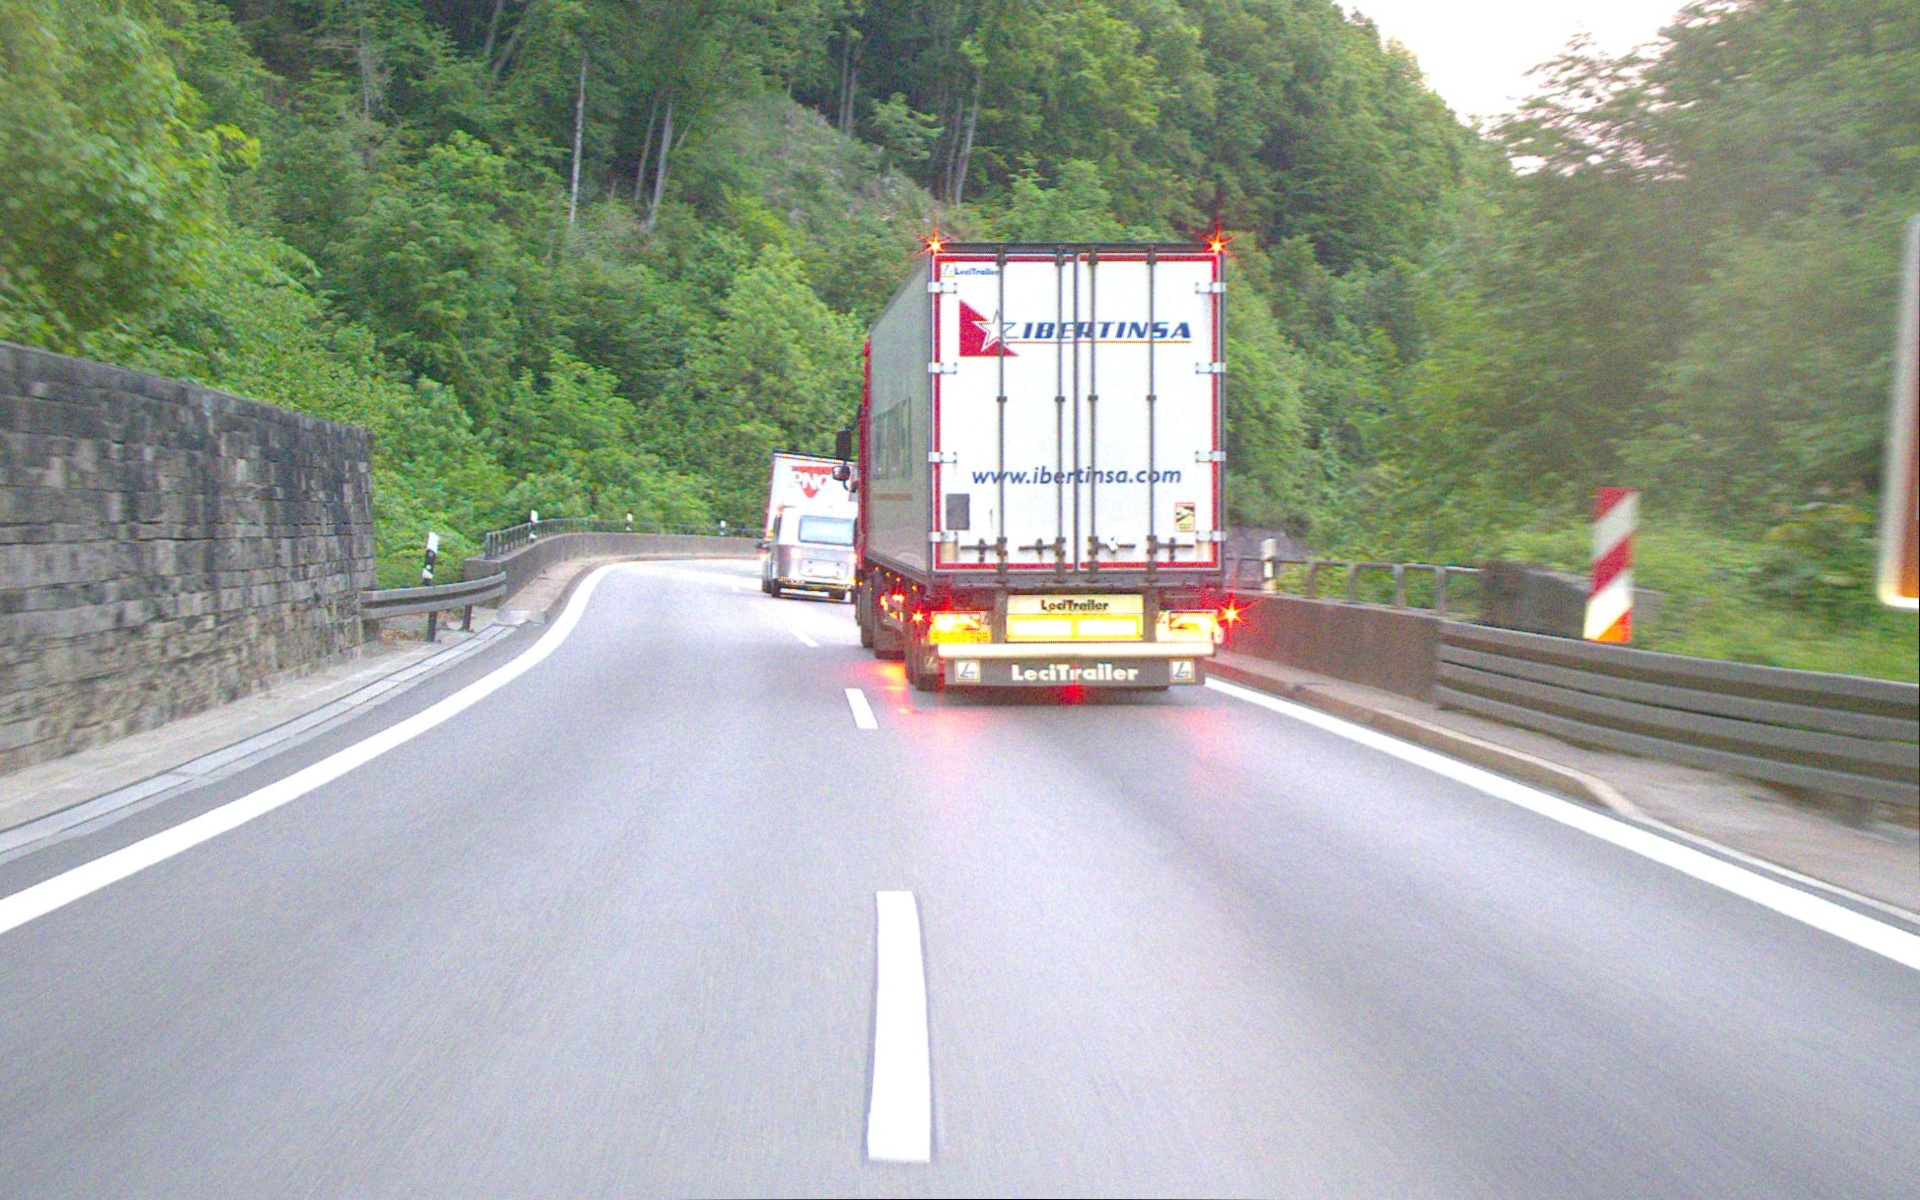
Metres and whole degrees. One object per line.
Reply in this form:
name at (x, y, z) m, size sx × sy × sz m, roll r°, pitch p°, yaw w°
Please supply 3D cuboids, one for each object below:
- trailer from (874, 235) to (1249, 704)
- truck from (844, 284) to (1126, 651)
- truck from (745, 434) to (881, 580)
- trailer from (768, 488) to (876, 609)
trailer at (0.686, -1.378, 36.234) m, size 3.097 × 3.956 × 14.220 m, roll 0°, pitch 2°, yaw -2°
truck at (0.176, -1.607, 42.256) m, size 3.069 × 4.130 × 6.448 m, roll 1°, pitch 2°, yaw -3°
truck at (-4.672, -2.881, 113.073) m, size 3.295 × 4.159 × 16.502 m, roll 3°, pitch 0°, yaw 1°
trailer at (-3.056, -1.208, 77.385) m, size 2.054 × 2.366 × 5.939 m, roll 7°, pitch 2°, yaw -1°
